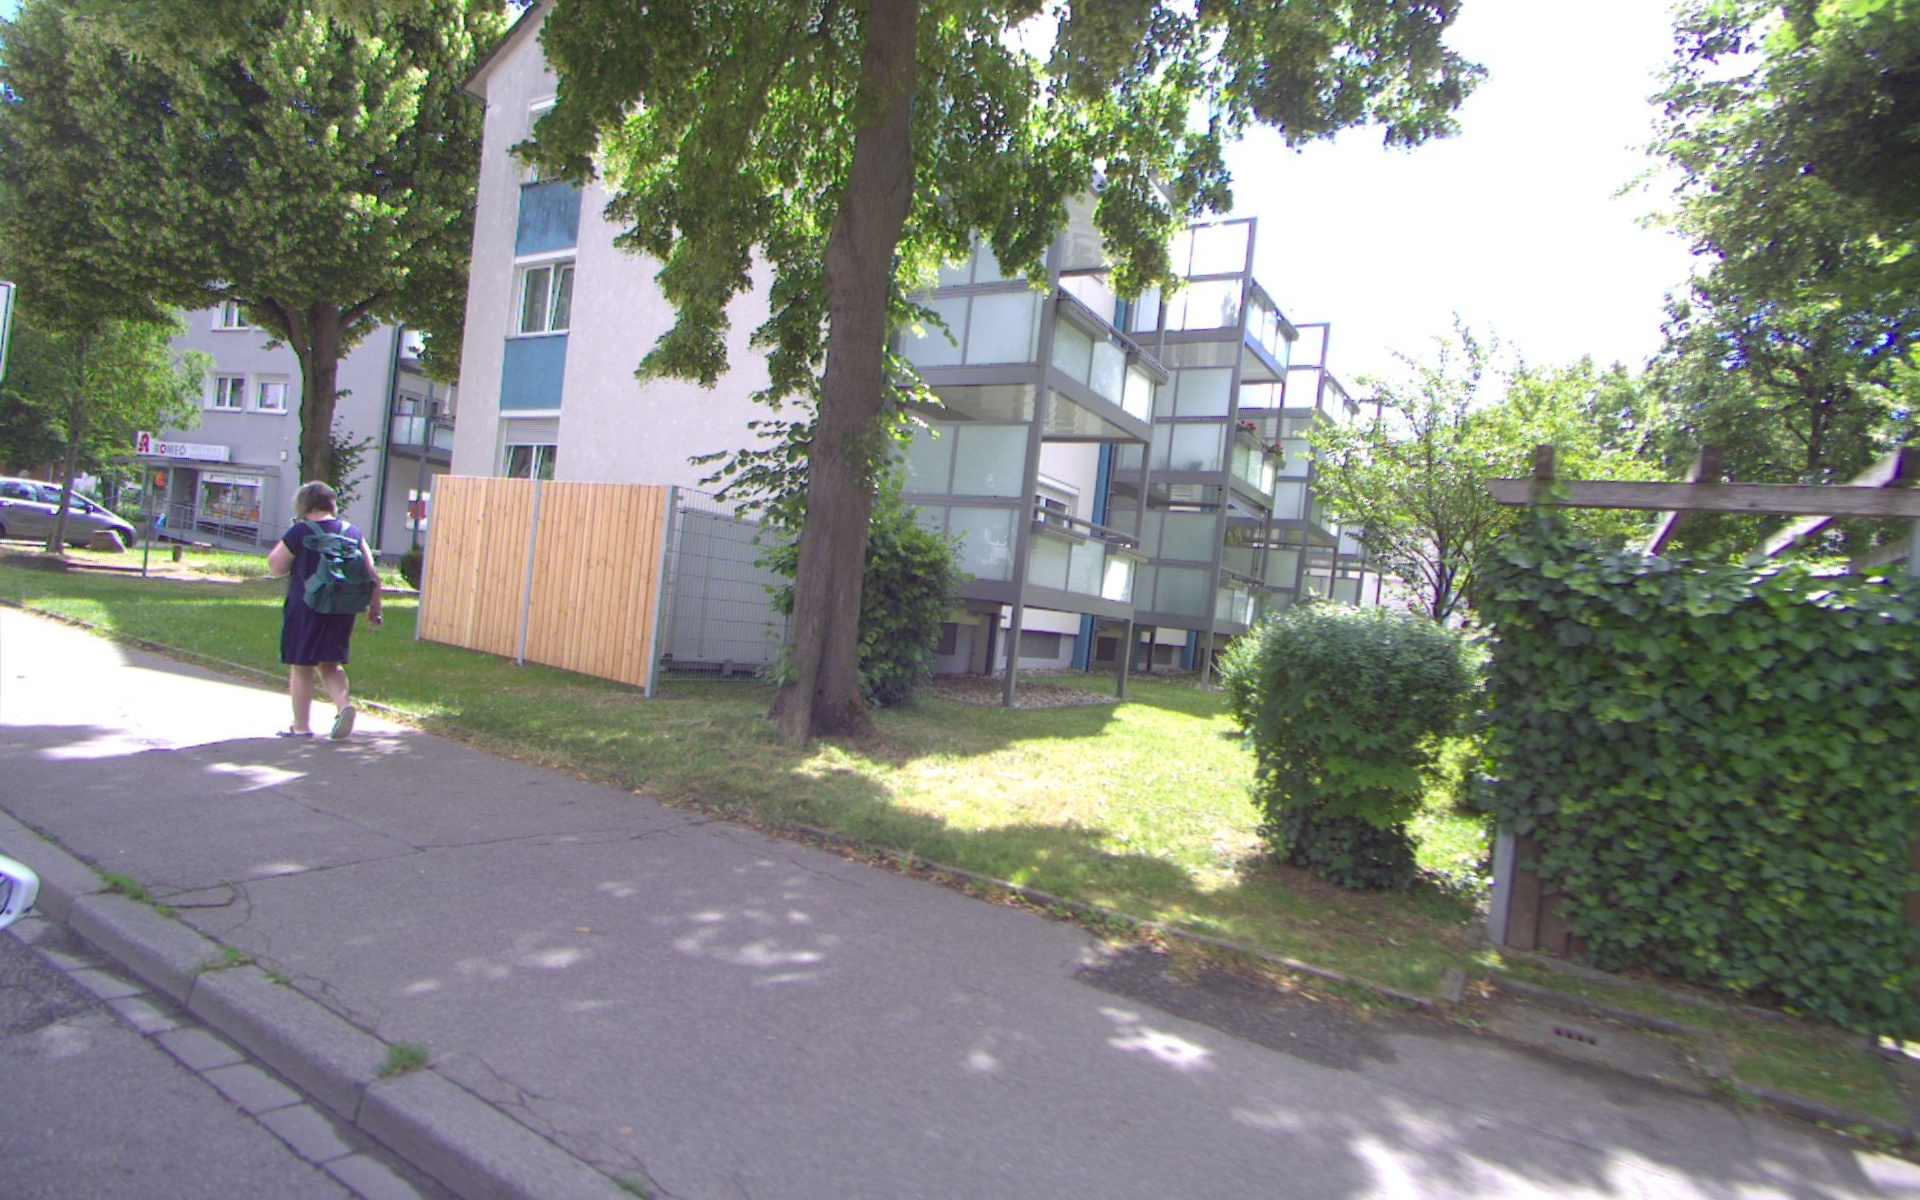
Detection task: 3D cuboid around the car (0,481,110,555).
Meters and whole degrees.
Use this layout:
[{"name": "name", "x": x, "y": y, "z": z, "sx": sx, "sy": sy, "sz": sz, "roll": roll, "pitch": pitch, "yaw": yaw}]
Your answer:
[{"name": "car", "x": -24.962, "y": -2.282, "z": 26.104, "sx": 1.727, "sy": 1.579, "sz": 4.003, "roll": 7, "pitch": -2, "yaw": 20}]

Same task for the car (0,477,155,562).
[{"name": "car", "x": -22.184, "y": -2.013, "z": 24.185, "sx": 1.727, "sy": 1.579, "sz": 4.003, "roll": 7, "pitch": -2, "yaw": 20}]

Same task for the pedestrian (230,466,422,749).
[{"name": "pedestrian", "x": -4.229, "y": 0.042, "z": 6.721, "sx": 0.753, "sy": 1.728, "sz": 0.718, "roll": 7, "pitch": 2, "yaw": 31}]
